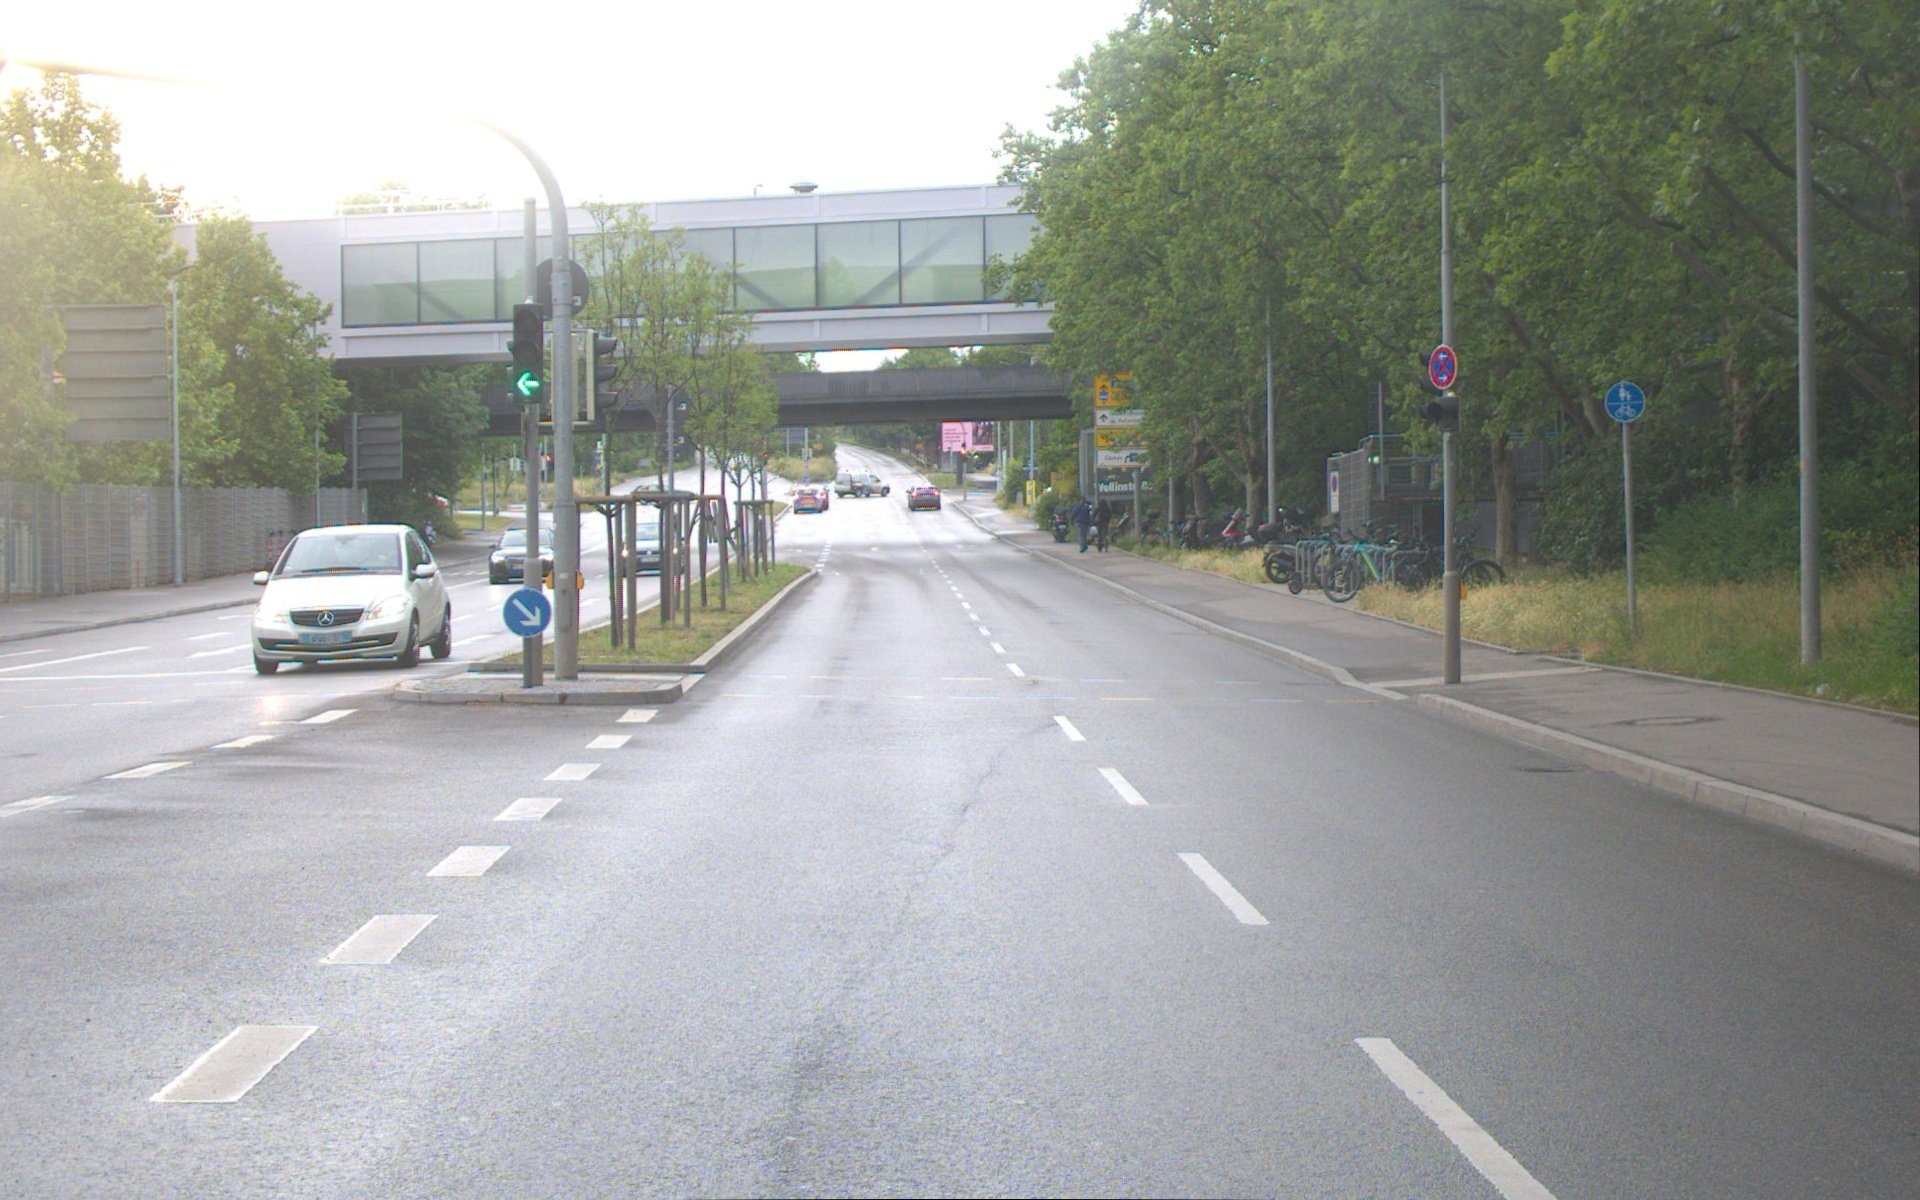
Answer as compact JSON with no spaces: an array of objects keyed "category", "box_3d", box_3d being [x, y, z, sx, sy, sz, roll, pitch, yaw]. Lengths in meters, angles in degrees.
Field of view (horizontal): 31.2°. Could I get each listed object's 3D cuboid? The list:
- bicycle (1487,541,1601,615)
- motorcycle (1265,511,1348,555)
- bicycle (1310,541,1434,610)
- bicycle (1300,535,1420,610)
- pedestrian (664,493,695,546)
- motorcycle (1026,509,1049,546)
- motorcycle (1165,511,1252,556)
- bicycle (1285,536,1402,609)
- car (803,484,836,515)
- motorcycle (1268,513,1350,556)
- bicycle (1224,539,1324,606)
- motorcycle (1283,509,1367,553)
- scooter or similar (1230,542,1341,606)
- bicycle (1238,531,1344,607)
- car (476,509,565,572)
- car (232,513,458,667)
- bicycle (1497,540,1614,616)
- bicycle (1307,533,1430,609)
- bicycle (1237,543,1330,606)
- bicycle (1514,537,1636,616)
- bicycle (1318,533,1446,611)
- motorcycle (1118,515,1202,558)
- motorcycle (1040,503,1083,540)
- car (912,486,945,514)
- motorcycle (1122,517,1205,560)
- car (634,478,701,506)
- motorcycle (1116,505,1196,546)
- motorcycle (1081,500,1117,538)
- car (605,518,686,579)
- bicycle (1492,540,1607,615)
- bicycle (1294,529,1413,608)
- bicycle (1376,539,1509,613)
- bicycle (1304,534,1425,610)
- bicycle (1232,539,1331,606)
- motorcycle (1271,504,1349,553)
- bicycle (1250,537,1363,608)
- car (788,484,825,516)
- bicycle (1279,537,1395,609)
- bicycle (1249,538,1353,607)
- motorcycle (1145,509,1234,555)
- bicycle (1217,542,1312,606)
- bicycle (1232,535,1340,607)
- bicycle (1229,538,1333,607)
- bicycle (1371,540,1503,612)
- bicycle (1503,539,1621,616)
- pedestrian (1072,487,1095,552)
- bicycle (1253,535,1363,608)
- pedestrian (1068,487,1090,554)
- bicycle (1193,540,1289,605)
[{"category":"bicycle","box_3d":[10.882,-0.411,64.103,1.990,1.324,0.576,2,0,0]},{"category":"motorcycle","box_3d":[10.124,-1.955,100.439,2.369,1.198,0.722,-1,1,7]},{"category":"bicycle","box_3d":[6.908,-0.415,57.685,1.990,1.091,0.541,2,0,0]},{"category":"bicycle","box_3d":[6.928,-0.482,59.617,1.990,1.237,0.541,2,0,0]},{"category":"pedestrian","box_3d":[-10.726,-3.086,131.455,0.872,1.997,0.854,-1,1,16]},{"category":"motorcycle","box_3d":[3.246,-3.061,144.826,0.790,1.528,2.377,-2,1,-2]},{"category":"motorcycle","box_3d":[7.014,-1.881,97.063,2.369,1.198,0.722,-1,1,7]},{"category":"bicycle","box_3d":[6.805,-0.489,61.036,1.990,1.237,0.541,2,0,0]},{"category":"car","box_3d":[-8.671,-6.237,212.825,1.884,1.756,3.969,2,0,0]},{"category":"motorcycle","box_3d":[10.308,-1.931,101.537,2.369,1.198,0.722,-1,1,7]},{"category":"bicycle","box_3d":[6.501,-0.565,71.244,1.963,1.324,0.654,2,0,0]},{"category":"motorcycle","box_3d":[10.527,-1.980,99.084,2.369,1.198,0.722,-1,1,7]},{"category":"scooter or similar","box_3d":[6.069,-0.480,64.152,1.990,1.134,0.541,2,0,0]},{"category":"bicycle","box_3d":[6.515,-0.607,67.751,1.990,1.425,0.723,2,0,0]},{"category":"car","box_3d":[-11.684,-1.589,91.567,1.877,1.619,3.779,-1,1,0]},{"category":"car","box_3d":[-6.887,-0.150,38.837,1.877,1.619,3.779,-1,1,0]},{"category":"bicycle","box_3d":[10.873,-0.408,62.800,1.990,1.324,0.576,2,0,0]},{"category":"bicycle","box_3d":[6.920,-0.489,58.267,1.990,1.229,0.541,2,0,0]},{"category":"bicycle","box_3d":[7.148,-0.558,76.067,1.963,1.324,0.654,2,0,0]},{"category":"bicycle","box_3d":[10.733,-0.405,60.043,1.990,1.324,0.576,2,0,0]},{"category":"bicycle","box_3d":[6.879,-0.462,56.077,1.990,1.212,0.541,2,0,0]},{"category":"motorcycle","box_3d":[5.807,-1.843,99.953,2.369,1.198,0.722,-1,1,7]},{"category":"motorcycle","box_3d":[3.697,-2.856,125.565,0.790,1.307,2.377,-2,1,-19]},{"category":"car","box_3d":[-1.868,-5.892,203.080,1.875,1.492,4.068,2,0,0]},{"category":"motorcycle","box_3d":[6.025,-1.821,101.726,2.369,1.198,0.722,-1,1,7]},{"category":"car","box_3d":[-20.069,-7.421,236.000,4.510,1.756,1.905,2,0,-2]},{"category":"motorcycle","box_3d":[6.046,-2.286,106.071,2.369,1.198,0.722,-1,1,7]},{"category":"motorcycle","box_3d":[4.919,-2.876,122.183,0.790,1.307,2.377,-2,1,-9]},{"category":"car","box_3d":[-8.561,-1.417,93.869,1.877,1.619,3.779,-1,1,0]},{"category":"bicycle","box_3d":[10.879,-0.409,63.479,1.990,1.324,0.576,2,0,0]},{"category":"bicycle","box_3d":[6.910,-0.550,60.344,1.990,1.336,0.541,2,0,0]},{"category":"bicycle","box_3d":[7.583,-0.377,54.050,1.990,1.091,0.541,2,0,0]},{"category":"bicycle","box_3d":[6.926,-0.480,58.915,1.990,1.237,0.541,2,0,0]},{"category":"bicycle","box_3d":[6.595,-0.561,70.554,1.960,1.324,0.576,2,0,0]},{"category":"motorcycle","box_3d":[10.916,-2.223,107.223,2.369,1.471,0.722,-1,1,7]},{"category":"bicycle","box_3d":[6.376,-0.507,63.360,1.990,1.237,0.541,2,0,0]},{"category":"car","box_3d":[-9.238,-5.993,206.873,1.993,1.756,4.000,2,0,0]},{"category":"bicycle","box_3d":[6.790,-0.491,61.985,1.990,1.237,0.541,2,0,0]},{"category":"bicycle","box_3d":[6.805,-0.550,68.605,1.990,1.324,0.576,2,0,0]},{"category":"motorcycle","box_3d":[6.342,-1.874,94.909,2.369,1.198,0.722,-1,1,7]},{"category":"bicycle","box_3d":[6.595,-0.570,74.563,1.963,1.324,0.654,2,0,0]},{"category":"bicycle","box_3d":[6.262,-0.548,66.074,1.990,1.324,0.576,2,0,0]},{"category":"bicycle","box_3d":[6.469,-0.549,69.316,1.990,1.324,0.576,2,0,0]},{"category":"bicycle","box_3d":[7.577,-0.378,54.619,1.990,1.091,0.541,2,0,0]},{"category":"bicycle","box_3d":[10.880,-0.406,62.135,1.990,1.324,0.576,2,0,0]},{"category":"pedestrian","box_3d":[3.802,-2.481,105.947,0.622,2.007,0.605,-2,1,0]},{"category":"bicycle","box_3d":[6.595,-0.536,65.265,1.990,1.324,0.576,2,0,0]},{"category":"pedestrian","box_3d":[3.640,-2.428,105.223,0.622,2.007,0.605,-2,1,0]},{"category":"bicycle","box_3d":[6.021,-0.585,73.760,1.963,1.324,0.654,2,0,0]}]
